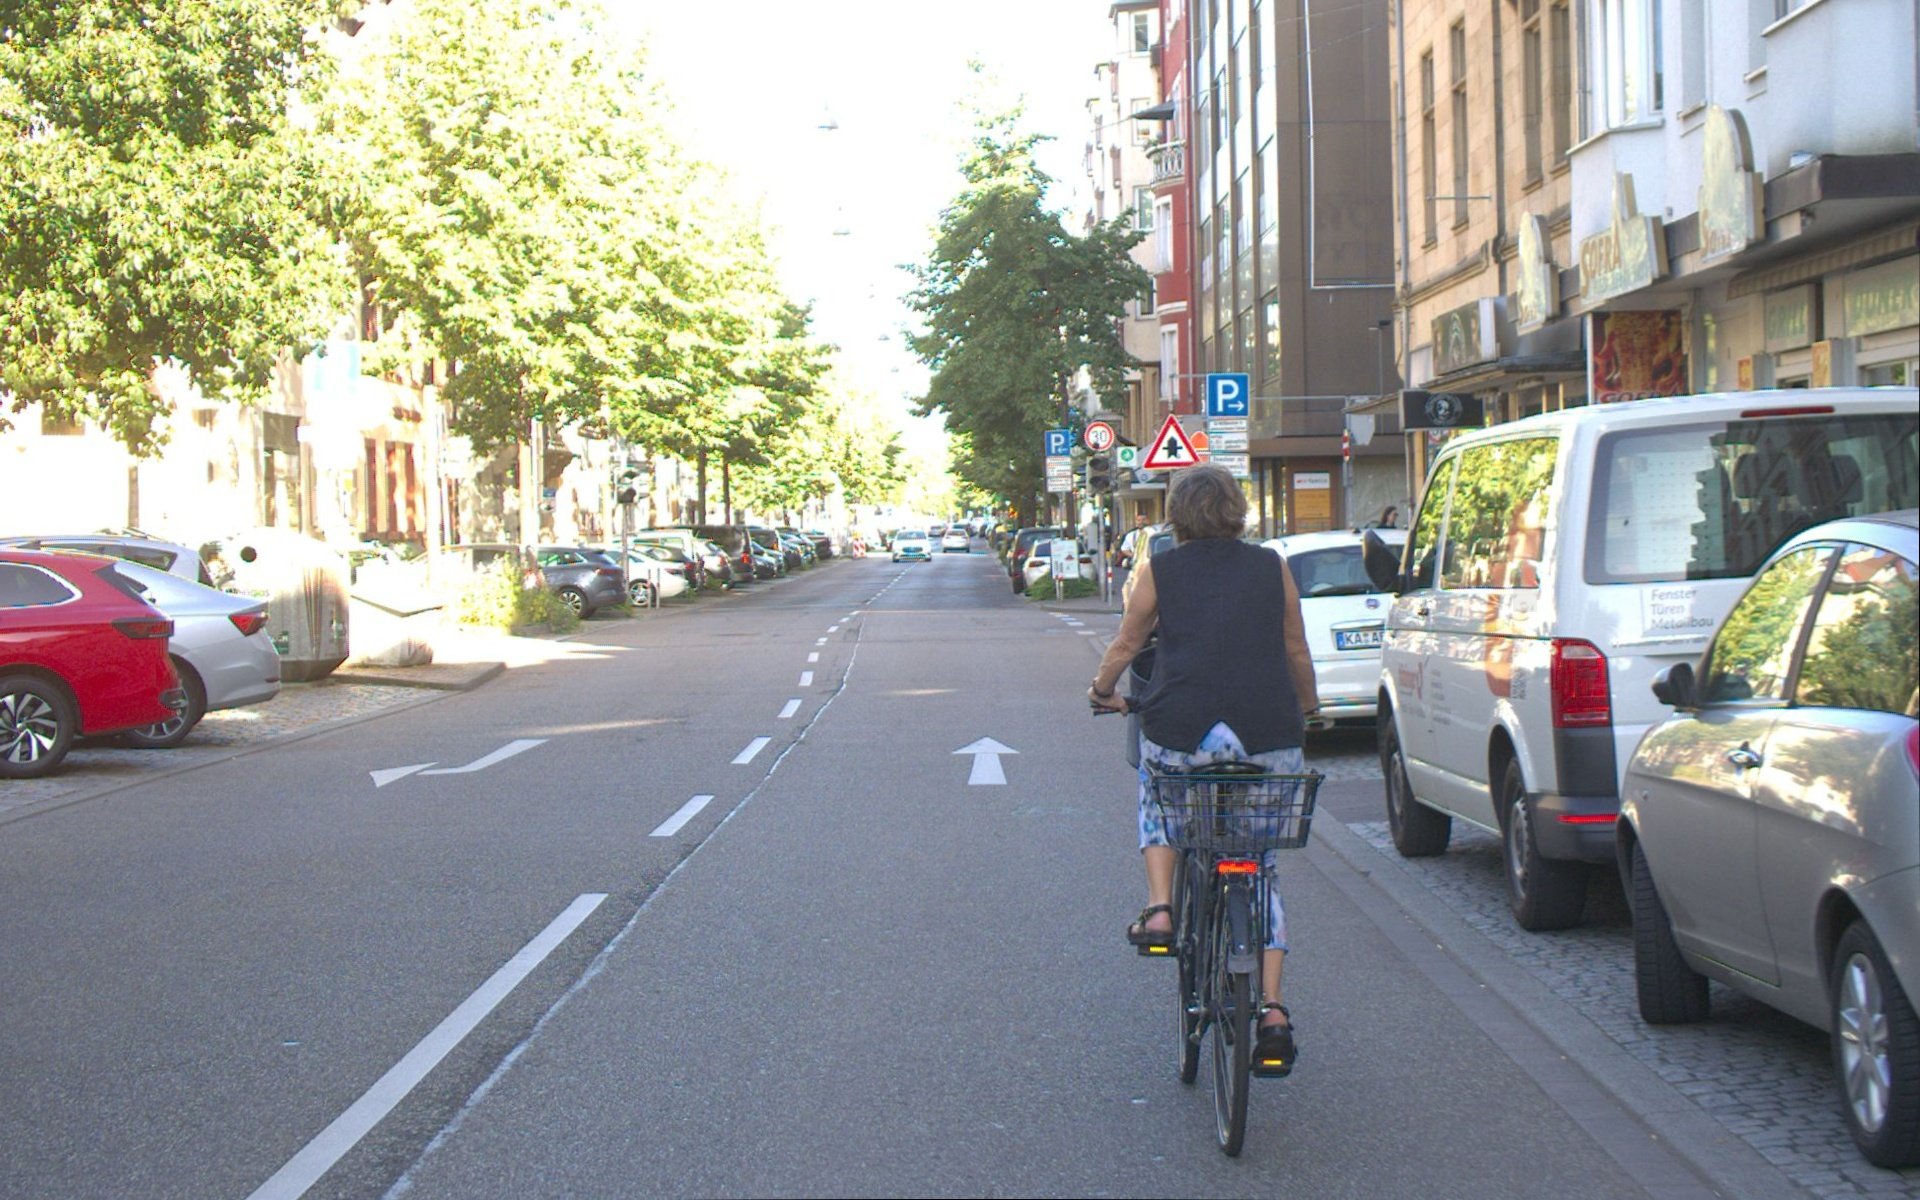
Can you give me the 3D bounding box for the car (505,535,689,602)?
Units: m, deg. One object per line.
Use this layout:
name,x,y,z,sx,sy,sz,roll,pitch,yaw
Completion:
car,-8.312,-0.725,79.047,3.987,1.503,2.000,1,0,1

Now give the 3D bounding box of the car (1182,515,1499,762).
car,2.568,0.243,23.941,1.718,1.510,3.583,-3,0,0

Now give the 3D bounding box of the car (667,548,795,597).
car,-7.591,-0.927,114.360,3.987,1.503,2.000,2,0,4

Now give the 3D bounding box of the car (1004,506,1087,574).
car,2.166,-1.484,86.127,1.994,1.612,4.010,1,0,2

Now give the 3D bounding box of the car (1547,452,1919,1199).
car,2.732,0.469,9.221,1.699,1.598,3.757,-1,0,1

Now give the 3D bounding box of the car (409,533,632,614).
car,-8.418,-0.518,66.073,3.987,1.503,2.000,1,0,1

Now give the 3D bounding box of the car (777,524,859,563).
car,-7.486,-2.983,181.414,3.988,2.007,1.999,0,1,10

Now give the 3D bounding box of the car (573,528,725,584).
car,-8.563,-1.209,94.857,3.987,1.503,1.894,1,0,1

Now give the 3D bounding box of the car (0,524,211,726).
car,-8.201,0.182,27.421,3.986,1.580,1.831,1,0,-29

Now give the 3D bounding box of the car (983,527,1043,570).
car,1.805,-1.781,118.550,1.993,1.448,4.000,0,1,0

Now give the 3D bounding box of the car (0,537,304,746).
car,-7.100,0.287,25.035,4.221,1.472,1.736,1,0,-27

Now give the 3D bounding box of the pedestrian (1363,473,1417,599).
pedestrian,6.398,-0.952,51.167,0.646,1.865,0.626,0,0,23

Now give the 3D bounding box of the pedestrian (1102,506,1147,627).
pedestrian,2.352,-0.479,49.318,0.614,1.729,0.634,0,0,1

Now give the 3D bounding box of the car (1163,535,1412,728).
car,2.585,0.228,27.844,1.678,1.443,3.785,0,0,1

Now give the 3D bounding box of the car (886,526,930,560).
car,-2.458,-2.737,164.722,1.993,1.550,4.000,0,0,1

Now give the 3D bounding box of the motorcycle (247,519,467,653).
motorcycle,-7.481,-0.176,42.670,2.474,1.599,0.999,-1,1,19

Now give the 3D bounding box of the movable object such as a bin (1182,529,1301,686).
movable object such as a bin,2.822,0.059,34.445,1.073,1.452,1.492,-3,2,5

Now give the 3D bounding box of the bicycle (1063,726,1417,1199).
bicycle,0.651,0.858,8.839,0.652,0.955,2.698,0,0,-1

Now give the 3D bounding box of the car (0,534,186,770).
car,-7.534,0.314,21.896,4.834,1.483,1.765,0,0,-23

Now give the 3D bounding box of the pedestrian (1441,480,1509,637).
pedestrian,5.961,-0.482,39.844,0.608,1.782,0.683,-2,0,-1

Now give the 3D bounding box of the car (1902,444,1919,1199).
car,2.732,0.579,4.254,1.745,1.733,4.960,0,0,0

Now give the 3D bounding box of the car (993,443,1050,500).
car,2.331,-4.874,130.722,1.993,2.007,4.000,-2,1,0

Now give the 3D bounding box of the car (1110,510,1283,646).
car,3.041,-0.281,45.096,1.899,1.669,4.825,0,0,0

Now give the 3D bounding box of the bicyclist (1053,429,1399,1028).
bicyclist,0.660,0.310,8.893,0.786,1.448,1.096,0,0,-1

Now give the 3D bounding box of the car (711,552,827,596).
car,-6.926,-0.949,124.991,3.987,1.503,2.000,2,0,4

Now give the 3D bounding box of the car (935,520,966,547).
car,-0.564,-4.068,209.868,1.870,1.550,4.000,0,0,1

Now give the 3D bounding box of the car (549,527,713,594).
car,-8.469,-1.027,88.651,3.987,1.668,2.089,1,0,1

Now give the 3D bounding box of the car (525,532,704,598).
car,-8.138,-0.833,81.133,3.987,1.503,2.000,1,0,1

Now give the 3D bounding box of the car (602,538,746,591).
car,-8.259,-1.027,99.478,3.987,1.503,2.000,1,0,0

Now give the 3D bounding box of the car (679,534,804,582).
car,-7.422,-1.427,117.030,3.987,1.503,2.000,2,0,4

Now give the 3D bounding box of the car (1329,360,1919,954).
car,2.869,0.132,14.221,1.993,1.998,5.118,-1,1,-1
